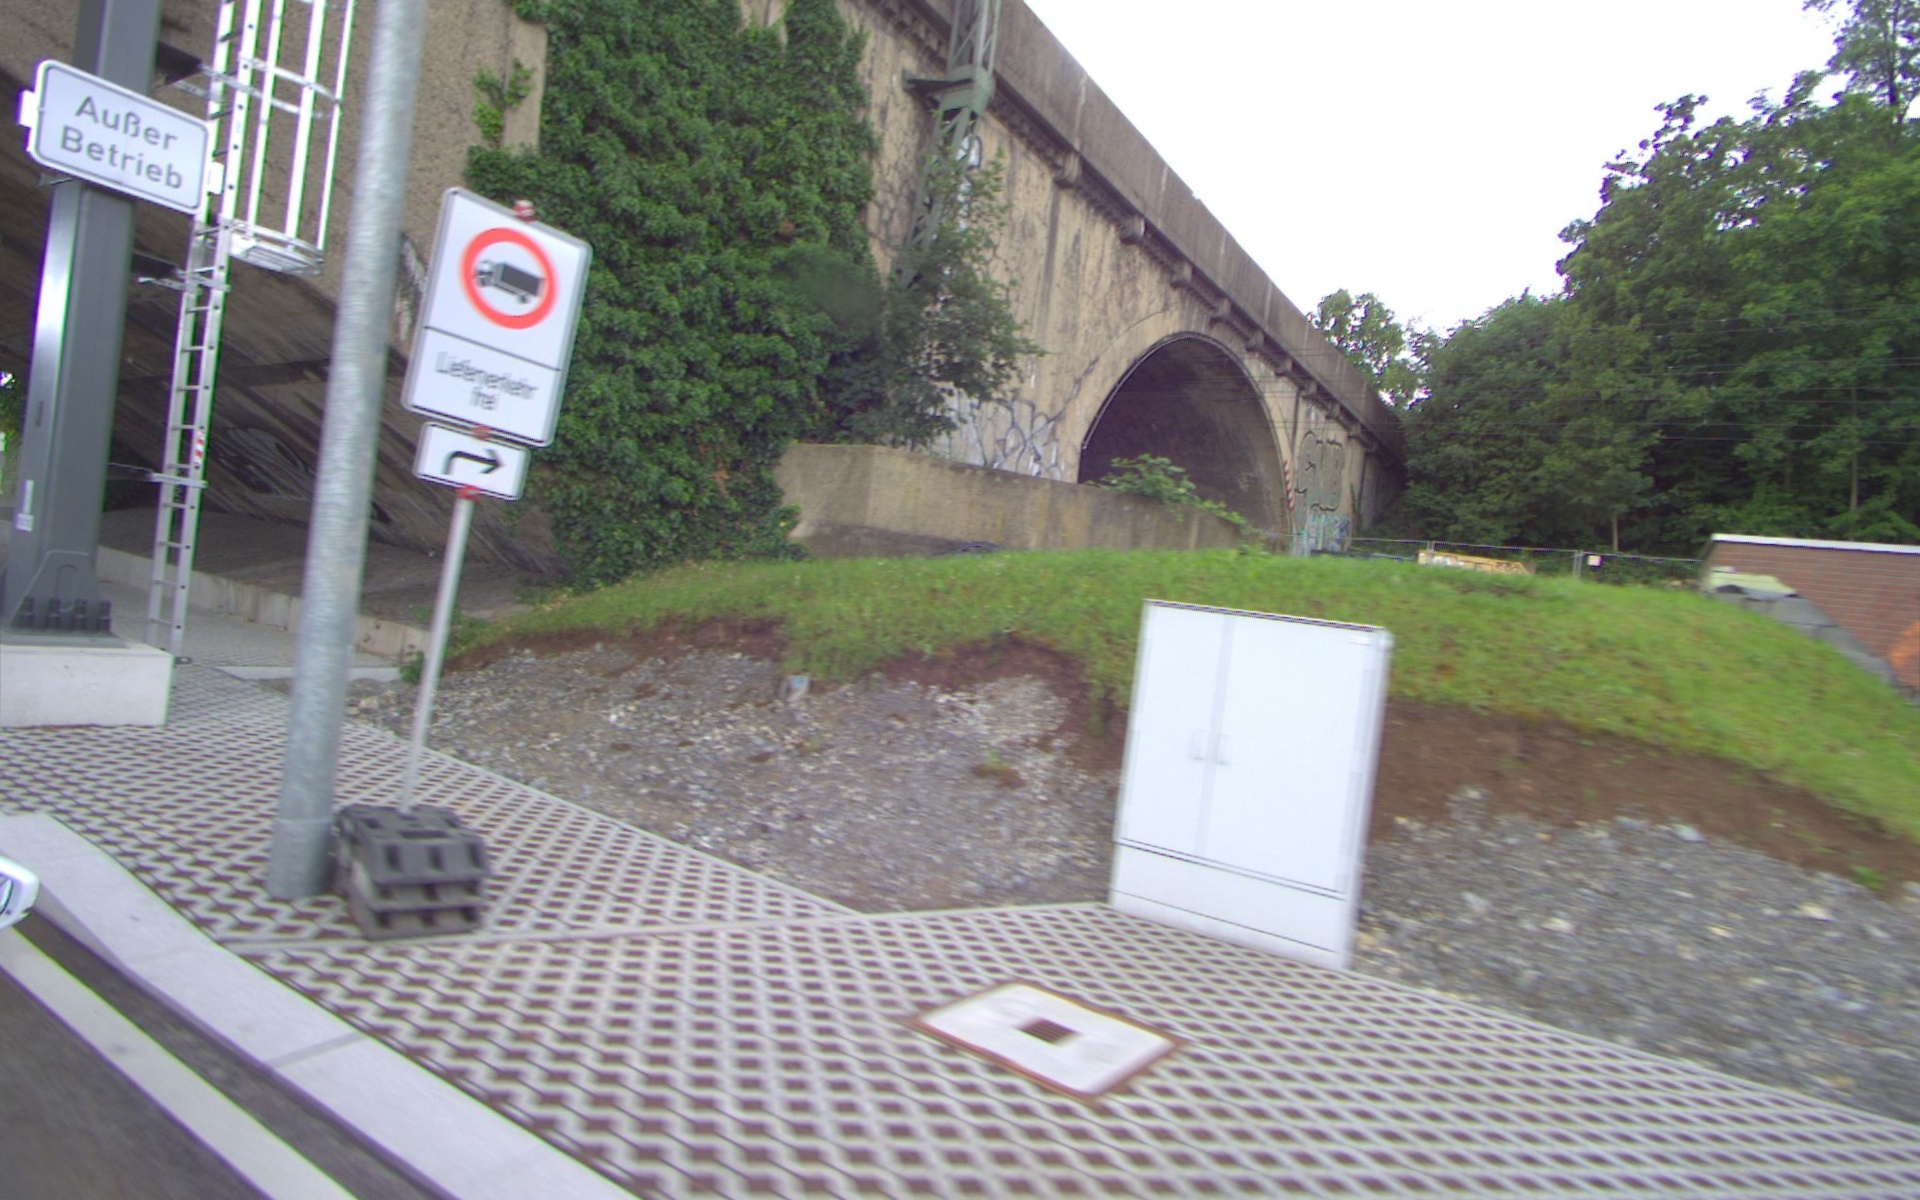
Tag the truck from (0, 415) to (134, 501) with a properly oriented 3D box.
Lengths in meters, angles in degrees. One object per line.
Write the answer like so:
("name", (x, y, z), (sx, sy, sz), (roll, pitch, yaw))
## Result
("truck", (-56.740, -8.726, 63.543), (3.292, 3.853, 16.473), (9, -1, -28))
